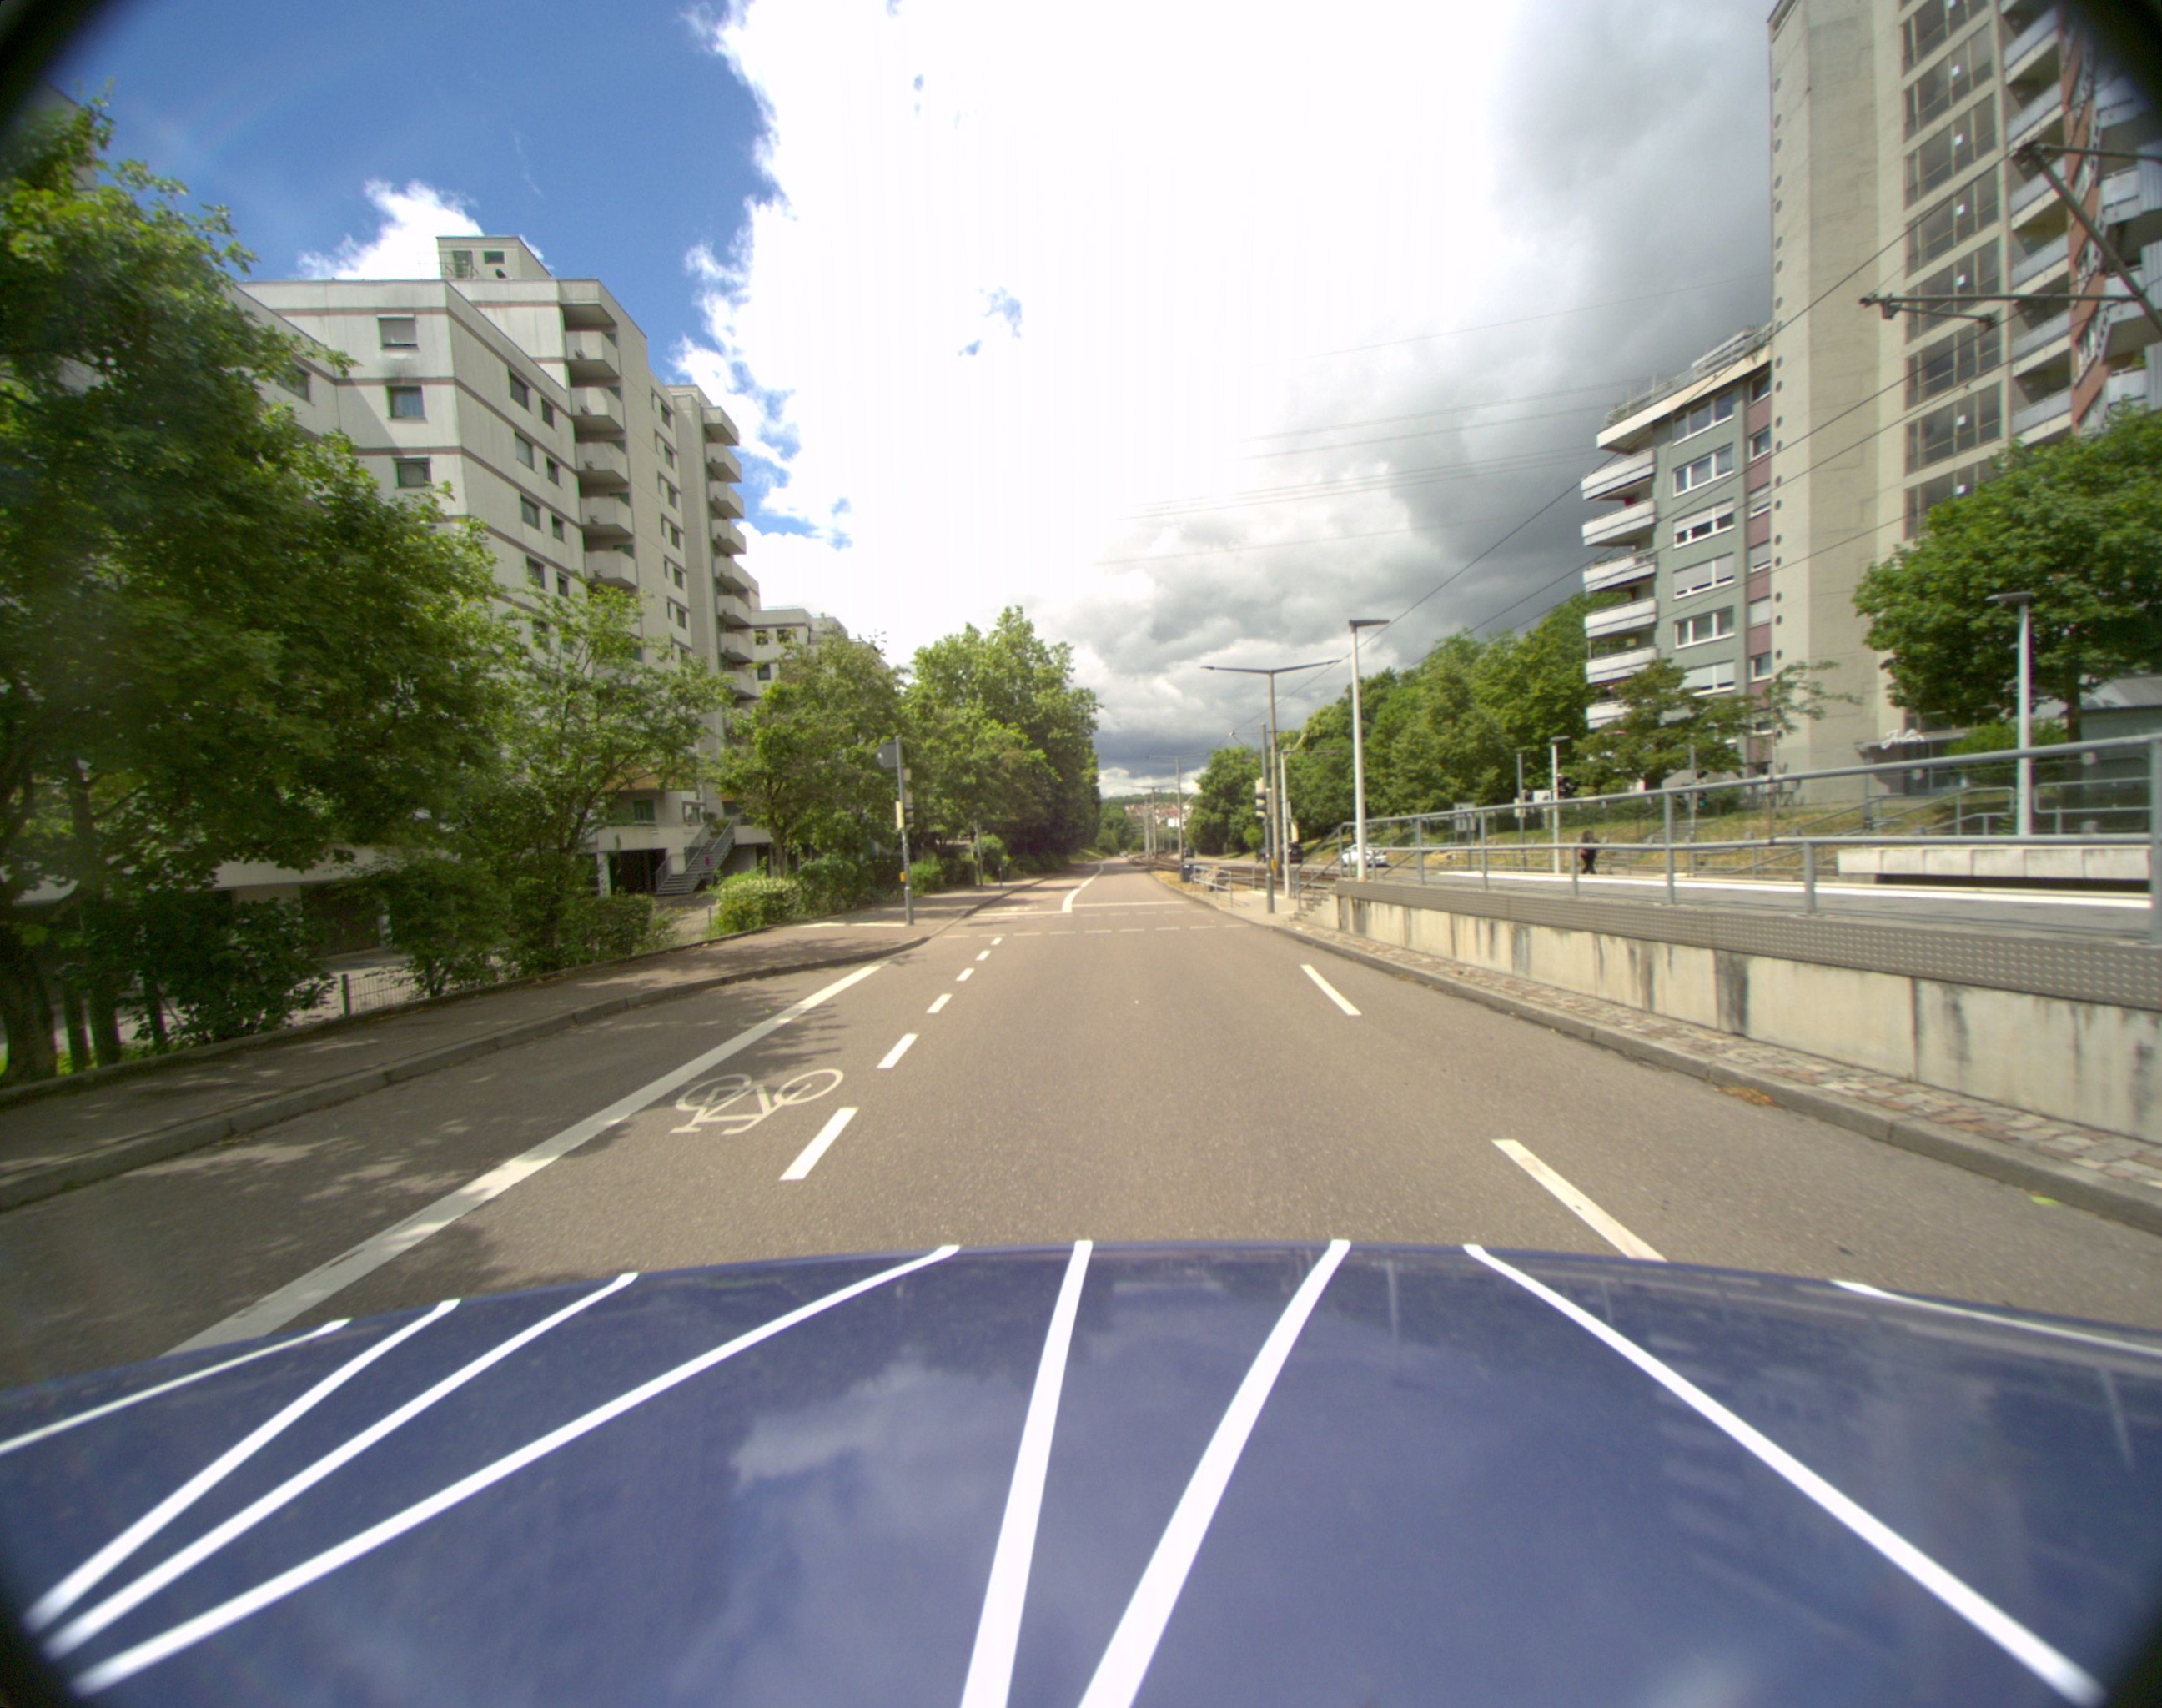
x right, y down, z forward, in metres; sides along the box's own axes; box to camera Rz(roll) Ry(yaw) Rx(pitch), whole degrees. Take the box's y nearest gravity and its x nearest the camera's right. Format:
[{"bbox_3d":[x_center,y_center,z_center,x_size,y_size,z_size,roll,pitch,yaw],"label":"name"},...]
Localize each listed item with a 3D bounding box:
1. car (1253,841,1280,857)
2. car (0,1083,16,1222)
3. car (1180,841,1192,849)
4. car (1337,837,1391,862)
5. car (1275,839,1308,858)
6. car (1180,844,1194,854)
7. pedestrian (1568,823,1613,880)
[{"bbox_3d":[17.472,-0.476,71.697,1.605,1.431,3.469,-3,0,0],"label":"car"},{"bbox_3d":[-11.133,2.540,5.767,3.762,1.424,1.563,-3,3,0],"label":"car"},{"bbox_3d":[18.922,-1.580,137.113,1.636,1.446,3.737,-2,1,0],"label":"car"},{"bbox_3d":[17.609,-0.283,47.425,1.659,1.410,3.998,-2,0,-3],"label":"car"},{"bbox_3d":[17.660,-0.464,63.896,1.658,1.504,3.737,-2,1,0],"label":"car"},{"bbox_3d":[16.820,-0.816,120.194,1.658,1.504,3.737,-2,1,0],"label":"car"},{"bbox_3d":[14.351,-0.065,21.420,0.690,1.555,0.824,-3,1,2],"label":"pedestrian"}]
